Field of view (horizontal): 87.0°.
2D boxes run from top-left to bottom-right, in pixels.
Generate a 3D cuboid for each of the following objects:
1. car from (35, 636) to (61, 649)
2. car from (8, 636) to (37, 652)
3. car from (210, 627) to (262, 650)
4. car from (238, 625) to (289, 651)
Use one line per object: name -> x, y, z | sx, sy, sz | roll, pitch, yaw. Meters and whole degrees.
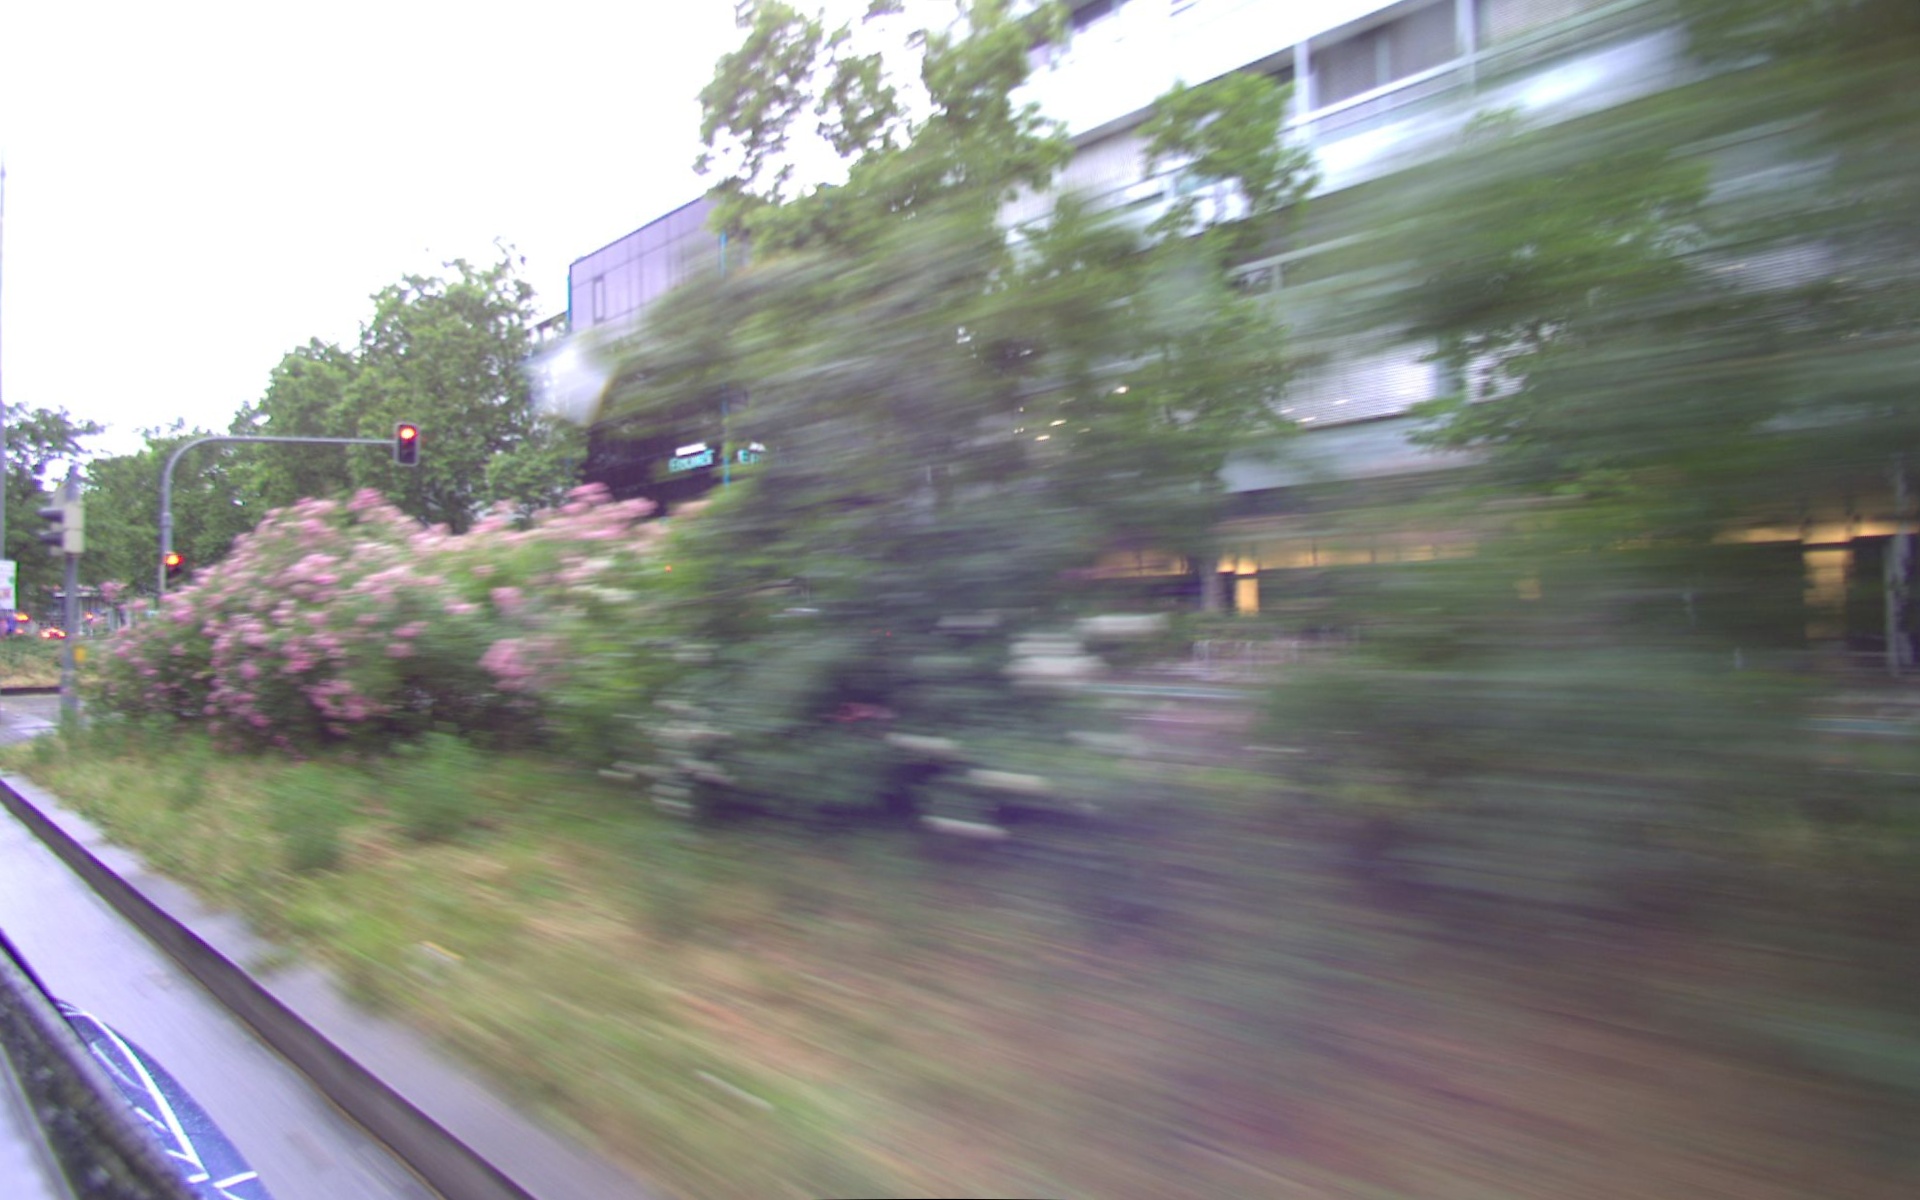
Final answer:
car -> -104.015, 4.811, 115.421 | 3.736, 1.335, 1.743 | -1, 1, 41
car -> -102.431, 4.778, 110.565 | 3.725, 1.586, 1.759 | -1, 1, 39
car -> -47.605, 2.496, 66.523 | 4.390, 1.336, 1.857 | -1, 1, 41
car -> -43.343, 2.324, 62.987 | 3.787, 1.464, 1.728 | -1, 1, 41
